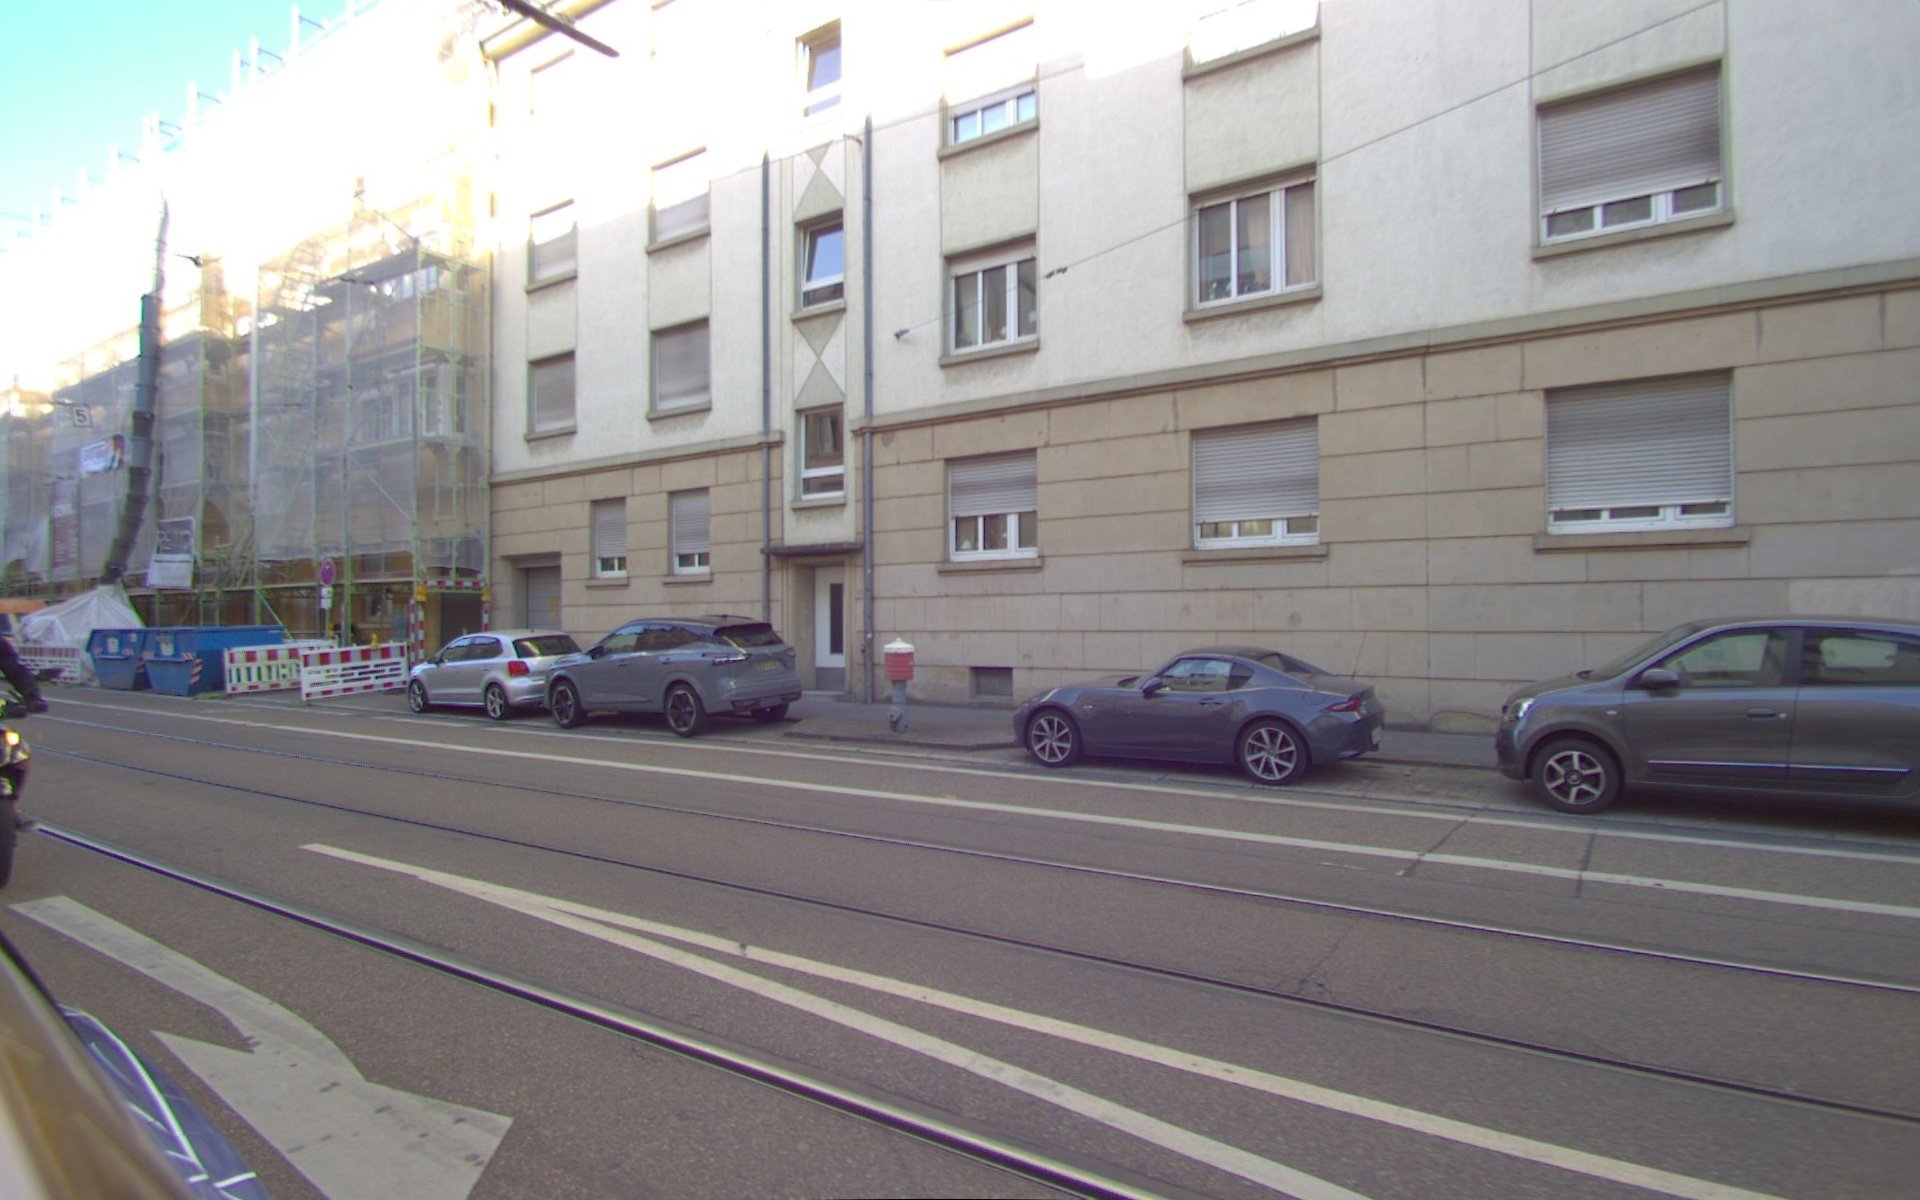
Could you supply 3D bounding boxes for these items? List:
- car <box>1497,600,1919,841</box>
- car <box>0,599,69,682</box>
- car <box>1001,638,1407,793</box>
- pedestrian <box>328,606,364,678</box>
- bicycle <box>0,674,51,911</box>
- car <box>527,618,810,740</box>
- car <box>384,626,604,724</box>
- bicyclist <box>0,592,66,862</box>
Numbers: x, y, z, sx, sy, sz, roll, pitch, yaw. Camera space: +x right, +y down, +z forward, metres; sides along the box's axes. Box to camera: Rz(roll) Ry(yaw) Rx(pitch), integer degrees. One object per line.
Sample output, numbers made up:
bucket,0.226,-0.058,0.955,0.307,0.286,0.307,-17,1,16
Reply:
car,6.459,0.813,7.745,3.990,1.581,1.685,-1,0,35
car,-31.066,1.300,32.615,5.985,2.488,2.102,-2,-3,35
car,2.472,1.070,10.524,3.774,1.225,1.686,-1,0,33
pedestrian,-14.967,1.014,24.675,0.705,1.707,0.584,-1,0,-32
bicycle,-5.885,1.072,5.958,0.729,1.186,1.977,1,-2,-41
car,-4.437,1.089,15.136,4.395,1.580,1.685,-2,-2,35
car,-8.220,1.227,17.749,3.990,1.426,1.685,-1,2,35
bicyclist,-5.973,0.747,6.099,0.831,1.566,0.851,1,-2,-40
